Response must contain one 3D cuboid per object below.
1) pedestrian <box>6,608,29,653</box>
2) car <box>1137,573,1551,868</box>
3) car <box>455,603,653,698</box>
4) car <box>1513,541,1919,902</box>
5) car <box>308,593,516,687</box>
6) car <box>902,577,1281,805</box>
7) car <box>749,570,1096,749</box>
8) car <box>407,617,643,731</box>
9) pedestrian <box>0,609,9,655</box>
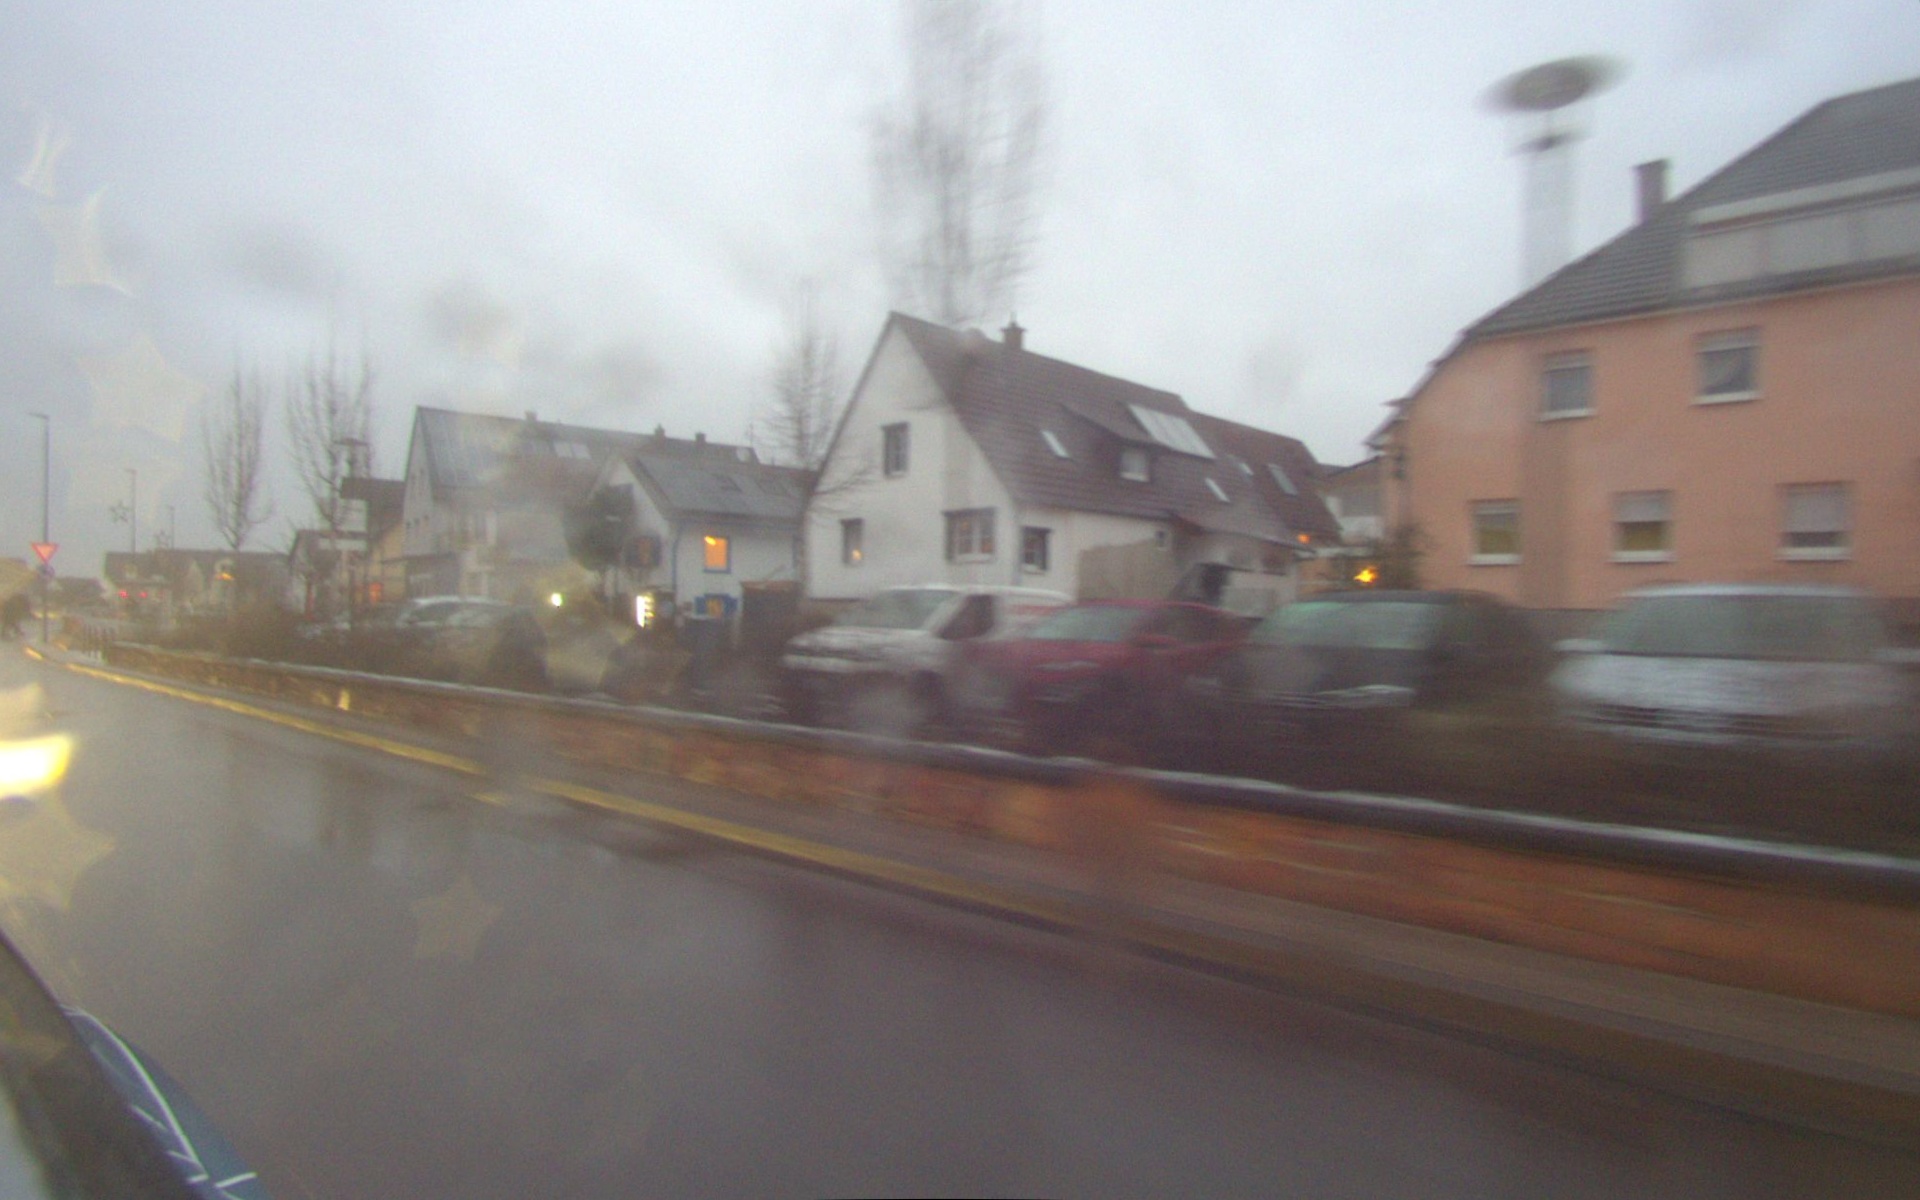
[{"bbox_3d":[-42.906,1.374,46.070,0.547,2.047,0.658,-2,-2,38],"label":"pedestrian"},{"bbox_3d":[3.562,0.859,8.840,1.999,1.881,4.456,-2,-3,40],"label":"car"},{"bbox_3d":[-9.172,1.193,23.066,1.748,1.966,3.756,-2,-5,40],"label":"car"},{"bbox_3d":[5.641,0.678,7.043,2.000,1.697,4.812,-3,-4,43],"label":"car"},{"bbox_3d":[-12.427,0.977,23.124,1.748,1.966,3.756,-2,-5,40],"label":"car"},{"bbox_3d":[1.593,0.843,10.709,1.867,1.881,4.456,-2,-3,40],"label":"car"},{"bbox_3d":[-0.277,0.689,12.512,1.843,1.815,4.368,-2,-3,40],"label":"car"},{"bbox_3d":[-8.314,1.425,19.576,1.748,1.966,3.756,-2,-5,40],"label":"car"},{"bbox_3d":[-42.876,1.425,45.100,0.604,2.029,0.665,-1,-1,41],"label":"pedestrian"}]
